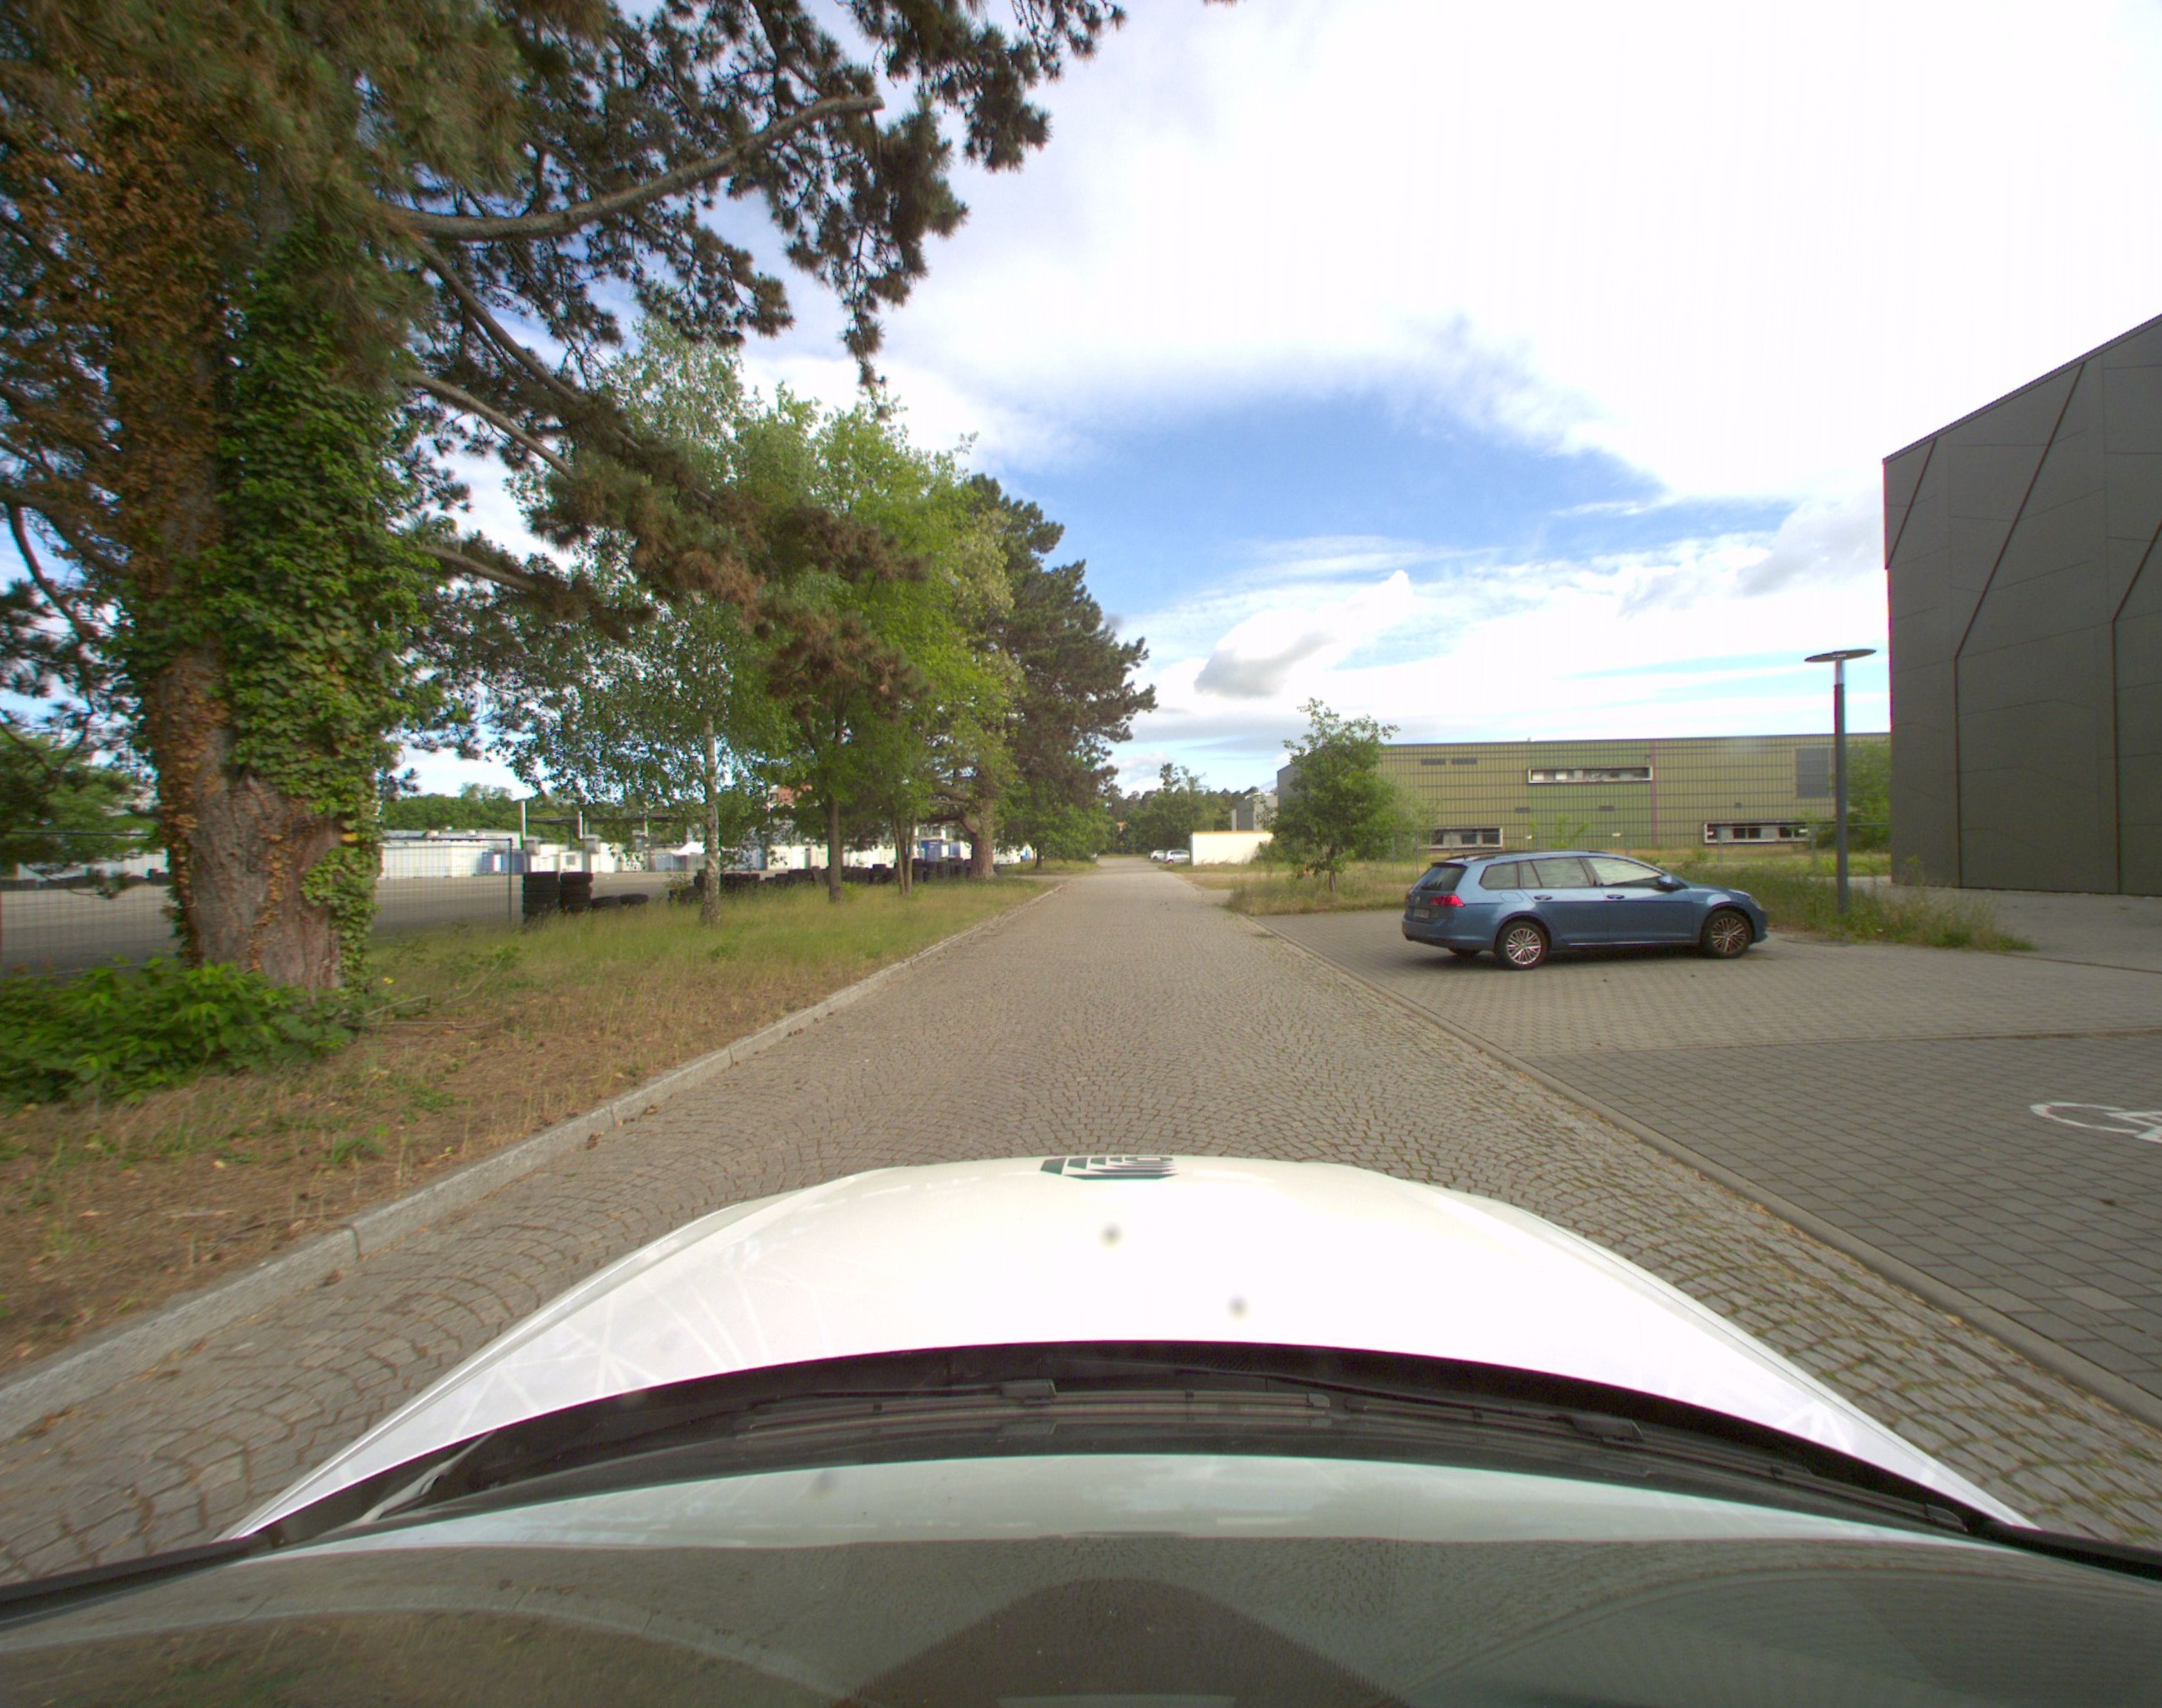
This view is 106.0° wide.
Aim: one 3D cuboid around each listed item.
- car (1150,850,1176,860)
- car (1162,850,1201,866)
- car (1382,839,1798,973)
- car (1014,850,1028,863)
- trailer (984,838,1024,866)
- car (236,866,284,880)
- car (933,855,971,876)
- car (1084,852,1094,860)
[{"bbox_3d":[13.161,0.204,130.712,4.007,1.502,1.550,-1,0,3],"label":"car"},{"bbox_3d":[10.378,0.417,84.601,3.837,1.654,1.686,-1,0,0],"label":"car"},{"bbox_3d":[6.720,0.645,11.106,4.508,1.443,1.823,-3,0,-1],"label":"car"},{"bbox_3d":[-10.169,0.417,138.970,1.918,2.047,4.601,-1,0,1],"label":"car"},{"bbox_3d":[-9.168,-0.252,98.163,3.143,3.067,8.796,-1,0,5],"label":"trailer"},{"bbox_3d":[-97.259,2.208,96.475,3.952,1.533,1.630,-1,0,1],"label":"car"},{"bbox_3d":[-9.577,0.824,60.661,1.756,1.453,3.497,-1,0,9],"label":"car"},{"bbox_3d":[1.542,0.427,150.316,1.729,1.469,4.046,-1,0,1],"label":"car"}]
